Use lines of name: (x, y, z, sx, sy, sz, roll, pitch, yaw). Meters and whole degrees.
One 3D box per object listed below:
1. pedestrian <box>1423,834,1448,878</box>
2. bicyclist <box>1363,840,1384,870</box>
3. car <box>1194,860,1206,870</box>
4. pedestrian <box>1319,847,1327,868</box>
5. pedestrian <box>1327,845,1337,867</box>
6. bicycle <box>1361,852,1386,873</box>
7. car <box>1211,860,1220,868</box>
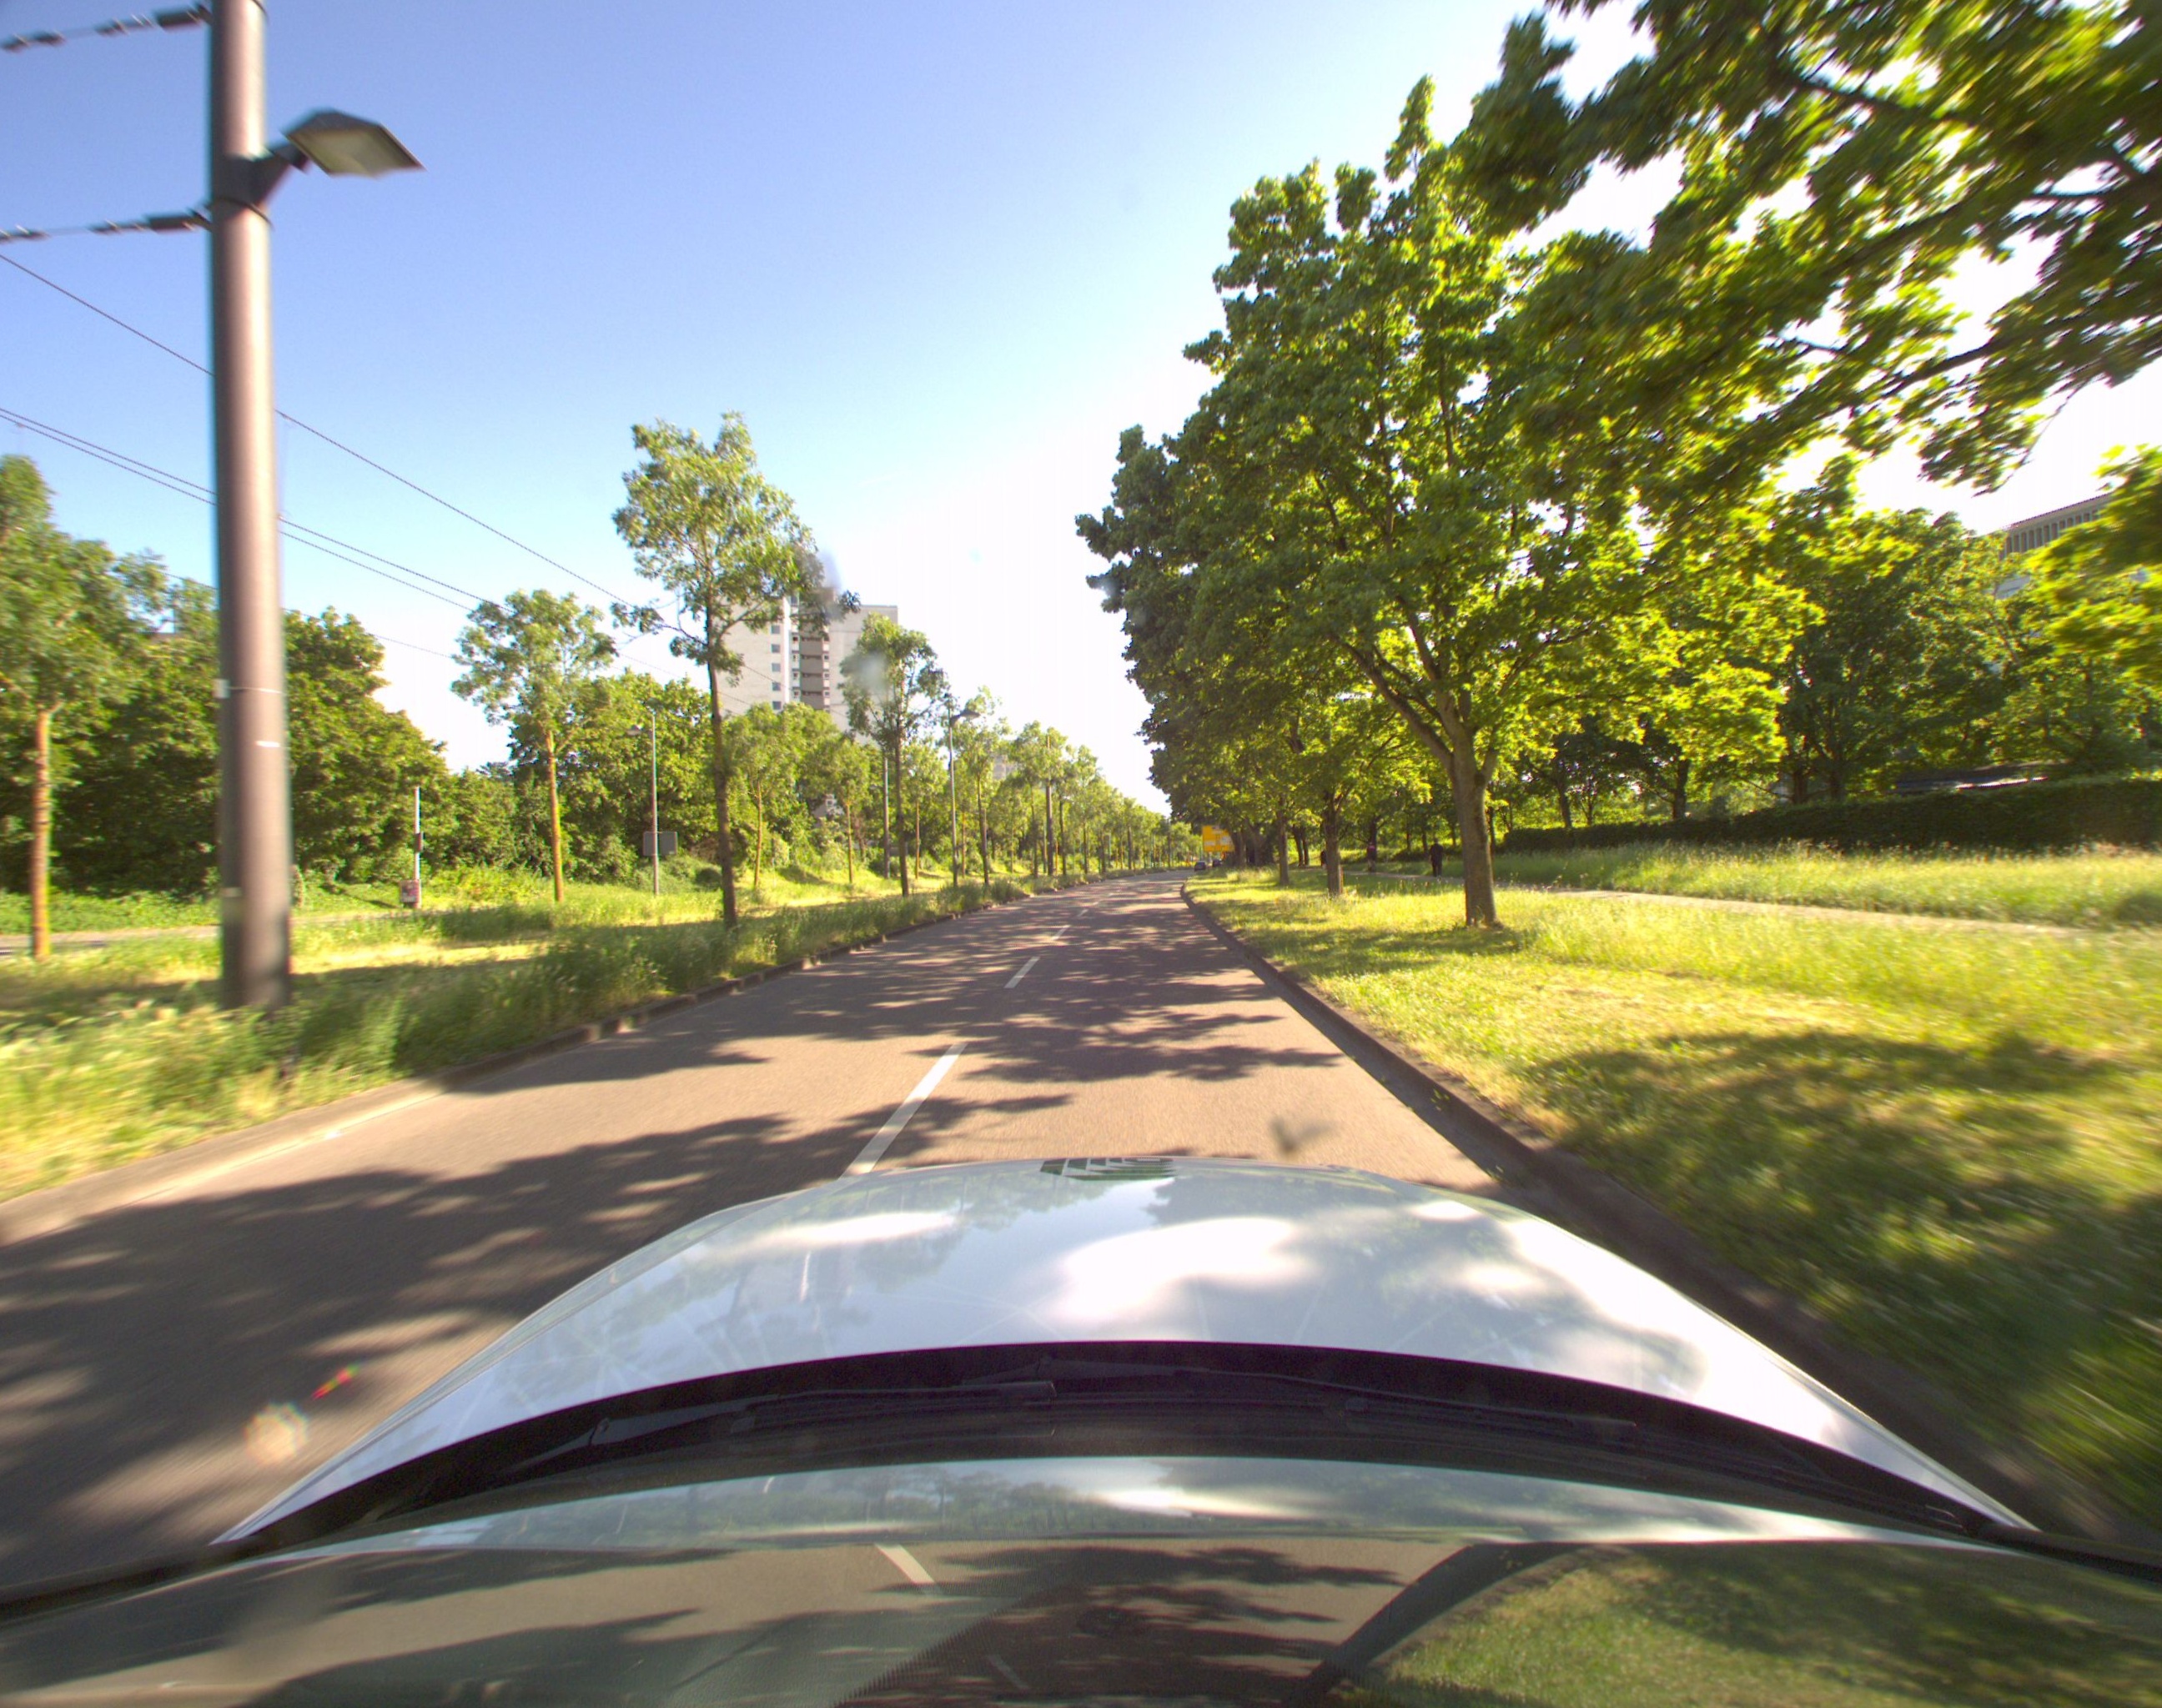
pedestrian: (14.812, 0.102, 34.033, 0.712, 1.803, 0.795, -2, -1, 6)
bicyclist: (14.895, 0.047, 41.521, 0.785, 1.450, 0.847, -2, -1, 9)
car: (17.718, 1.610, 121.090, 1.624, 1.498, 4.247, -1, -1, 11)
pedestrian: (19.062, 0.241, 64.127, 0.542, 1.622, 0.848, -3, -1, 19)
pedestrian: (19.692, 0.174, 63.856, 0.631, 1.692, 0.848, -3, -1, 19)
bicycle: (14.917, 0.435, 41.569, 0.789, 1.047, 2.148, -2, -1, 9)
car: (28.130, 2.047, 170.689, 1.623, 1.498, 4.248, -1, -1, 12)
